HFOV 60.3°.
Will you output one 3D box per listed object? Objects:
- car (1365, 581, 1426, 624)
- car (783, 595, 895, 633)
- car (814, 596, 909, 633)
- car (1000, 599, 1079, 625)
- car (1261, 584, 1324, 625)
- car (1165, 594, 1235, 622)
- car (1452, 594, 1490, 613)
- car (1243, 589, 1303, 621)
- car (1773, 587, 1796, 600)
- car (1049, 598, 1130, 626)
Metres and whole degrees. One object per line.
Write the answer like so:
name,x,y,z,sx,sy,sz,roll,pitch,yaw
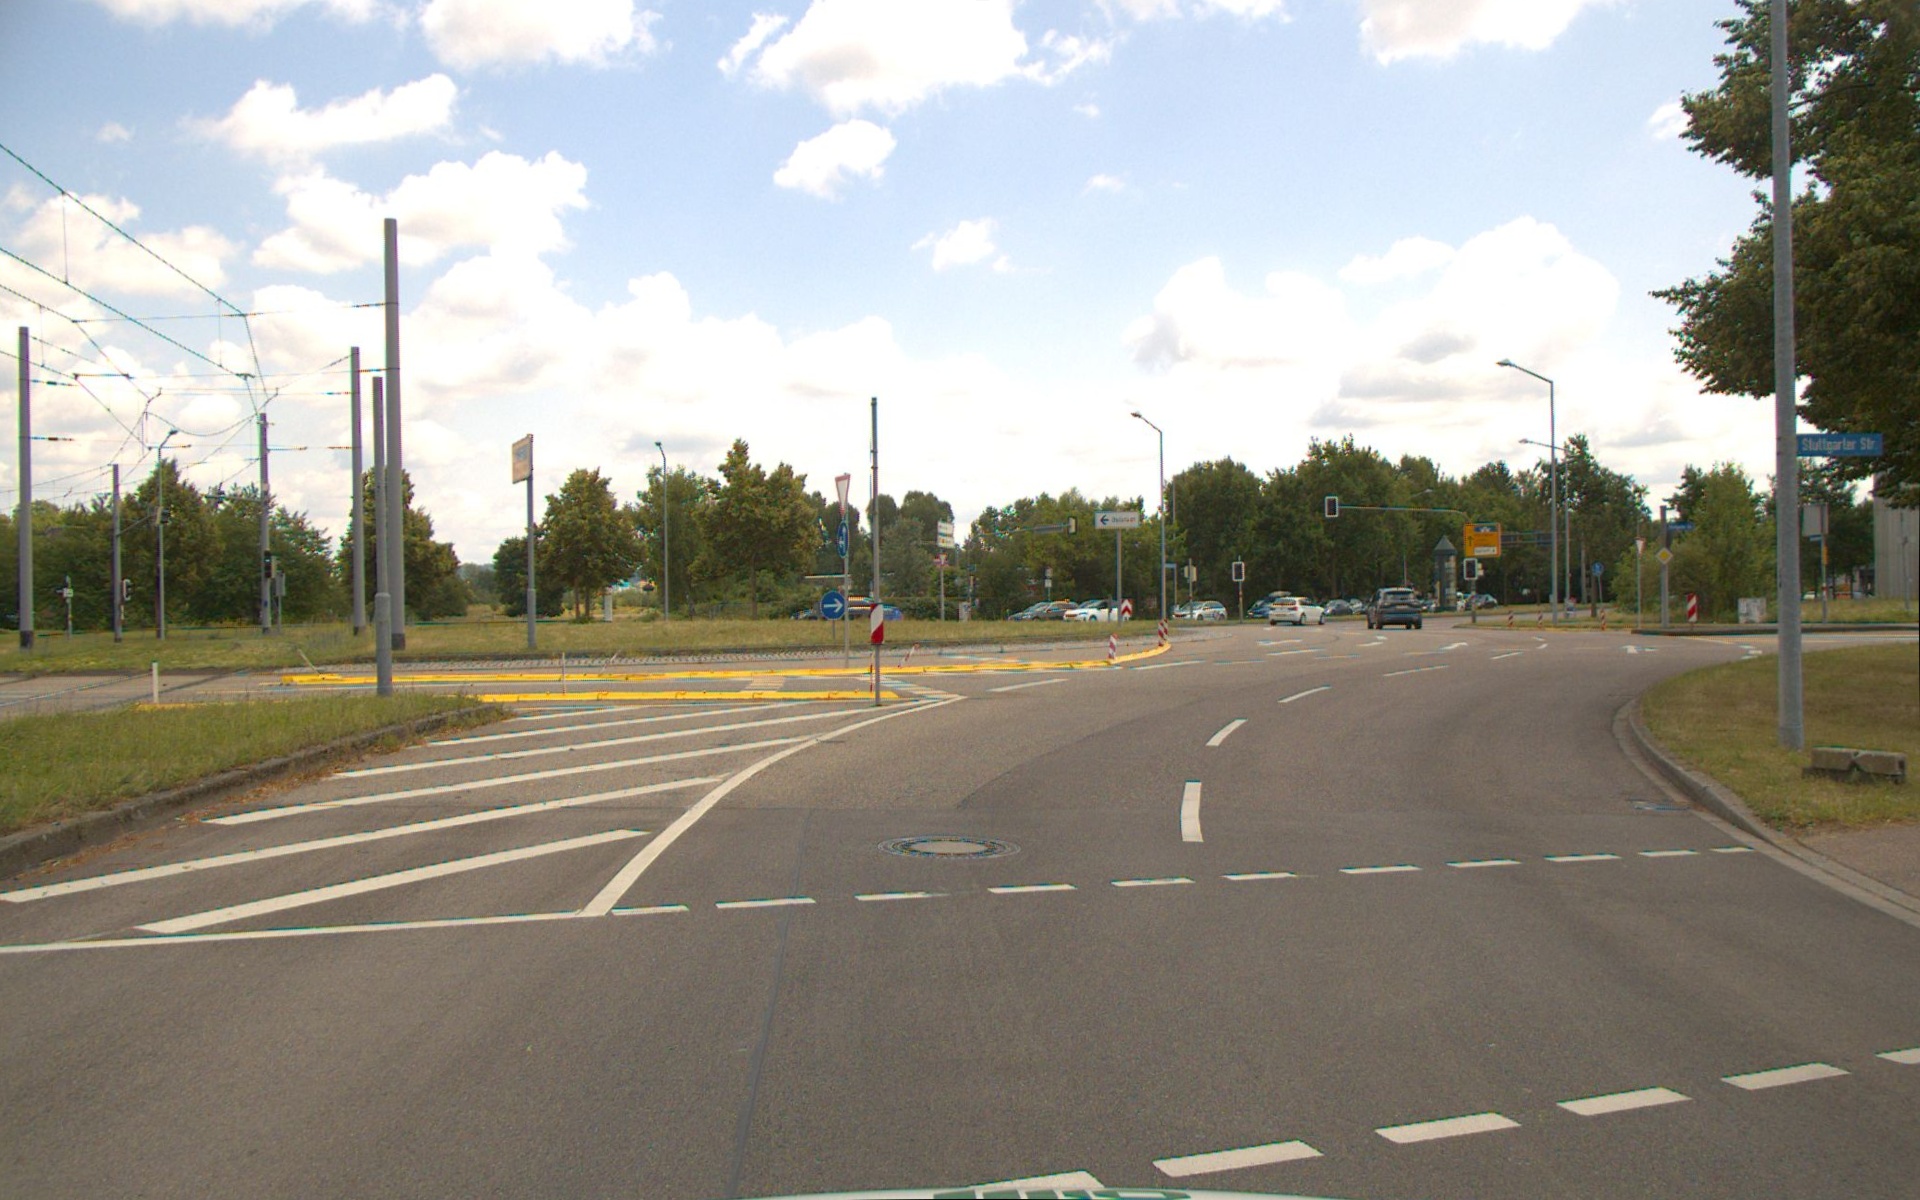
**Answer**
car,17.856,0.099,67.990,1.951,1.654,4.313,-2,0,9
car,-5.772,0.660,79.179,5.010,1.704,1.976,-1,0,-34
car,-5.196,0.768,87.262,4.641,1.822,1.838,-1,-3,-20
car,4.334,0.639,89.879,1.920,1.346,4.464,-1,1,42
car,17.243,0.215,85.731,1.957,2.049,3.991,-1,0,31
car,14.526,0.467,99.798,2.086,1.548,4.482,-1,1,41
car,42.635,0.331,137.919,1.810,1.512,3.851,1,0,37
car,19.142,0.311,101.005,1.723,1.830,4.385,-1,0,40
car,98.594,-0.818,197.831,1.809,1.512,3.851,-1,0,37
car,6.807,0.617,86.639,1.967,1.353,4.281,-1,0,45
